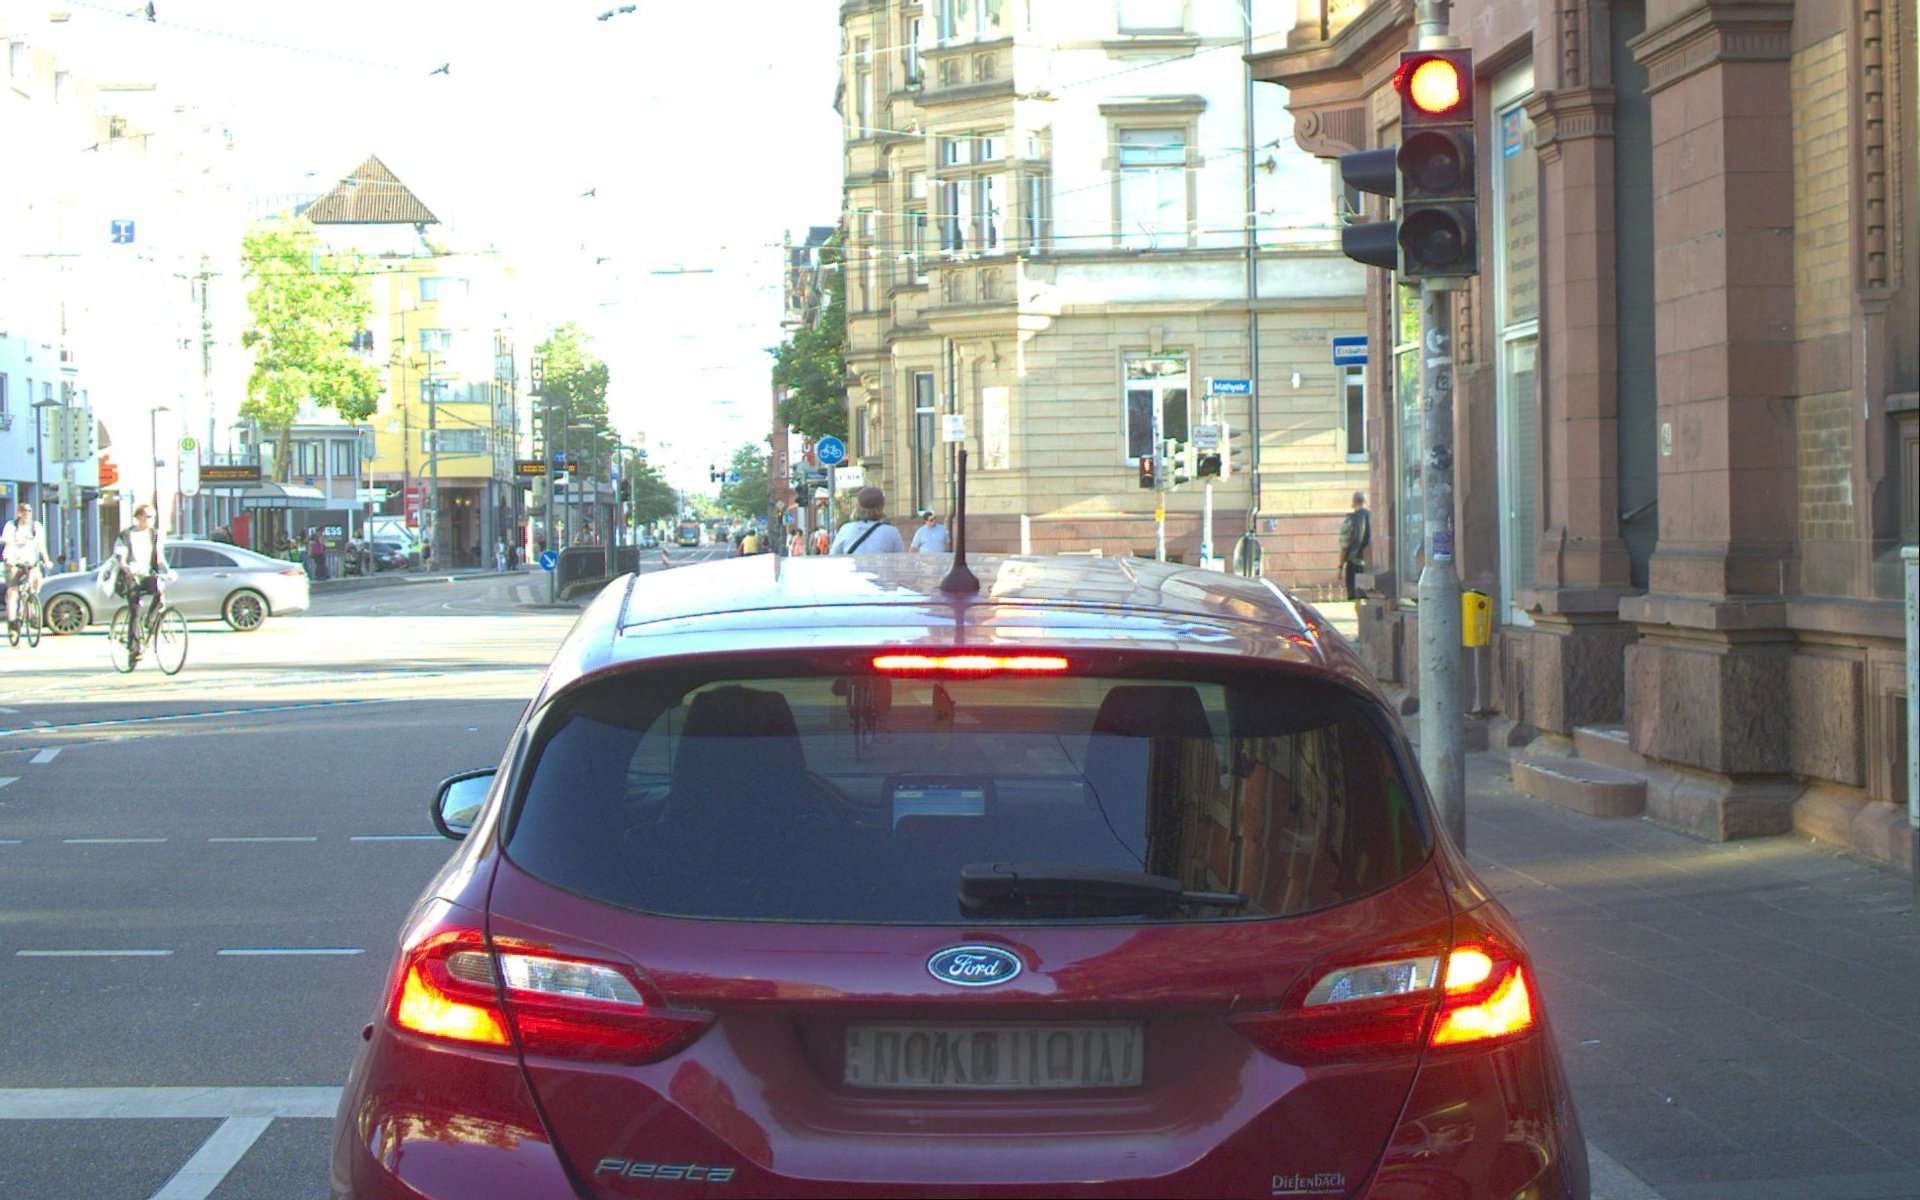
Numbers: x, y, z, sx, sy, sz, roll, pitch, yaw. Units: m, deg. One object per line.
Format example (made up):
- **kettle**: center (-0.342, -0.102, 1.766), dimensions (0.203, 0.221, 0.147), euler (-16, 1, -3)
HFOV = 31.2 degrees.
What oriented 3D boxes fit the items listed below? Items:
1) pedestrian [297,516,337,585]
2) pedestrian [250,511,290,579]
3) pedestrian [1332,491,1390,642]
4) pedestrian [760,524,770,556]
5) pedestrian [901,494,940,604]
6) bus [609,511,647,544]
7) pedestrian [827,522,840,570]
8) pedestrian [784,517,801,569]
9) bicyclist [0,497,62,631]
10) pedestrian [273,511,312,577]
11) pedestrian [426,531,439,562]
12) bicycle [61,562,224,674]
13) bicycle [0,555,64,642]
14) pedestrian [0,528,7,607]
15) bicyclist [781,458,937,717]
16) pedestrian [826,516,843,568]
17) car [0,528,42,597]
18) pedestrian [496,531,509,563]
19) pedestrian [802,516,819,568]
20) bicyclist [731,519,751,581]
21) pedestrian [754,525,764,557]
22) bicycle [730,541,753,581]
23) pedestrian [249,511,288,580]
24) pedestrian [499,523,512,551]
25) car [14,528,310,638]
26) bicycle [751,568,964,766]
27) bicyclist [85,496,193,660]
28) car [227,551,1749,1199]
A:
- **pedestrian**: center (-19.178, -1.481, 102.535), dimensions (1.045, 2.007, 0.959), euler (-1, 1, -5)
- **pedestrian**: center (-20.636, -1.657, 102.839), dimensions (1.045, 2.007, 0.959), euler (-1, 1, -5)
- **pedestrian**: center (4.731, -0.398, 40.563), dimensions (0.560, 1.749, 0.650), euler (-1, 1, -1)
- **pedestrian**: center (-11.367, -3.489, 200.371), dimensions (0.577, 1.880, 0.631), euler (-1, 1, -3)
- **pedestrian**: center (-0.730, -0.945, 63.594), dimensions (0.651, 2.007, 0.760), euler (-1, 1, -4)
- **bus**: center (-20.924, -4.559, 217.028), dimensions (1.925, 2.007, 7.138), euler (-1, 1, -2)
- **pedestrian**: center (-4.445, -1.892, 121.033), dimensions (0.413, 1.674, 0.485), euler (-1, 1, -1)
- **pedestrian**: center (-6.598, -2.241, 135.333), dimensions (0.577, 2.007, 0.631), euler (-1, 1, 3)
- **bicyclist**: center (-12.811, -0.500, 47.256), dimensions (0.807, 1.815, 0.994), euler (-1, 1, -18)
- **pedestrian**: center (-20.369, -1.714, 104.933), dimensions (1.045, 2.007, 0.959), euler (-1, 1, -5)
- **pedestrian**: center (-25.303, -2.565, 164.914), dimensions (0.580, 1.483, 0.526), euler (-1, 1, -5)
- **bicycle**: center (-8.716, 0.176, 36.604), dimensions (0.808, 1.143, 2.049), euler (-2, 2, -41)
- **bicycle**: center (-12.867, -0.035, 47.464), dimensions (0.807, 1.143, 2.011), euler (-1, 1, -18)
- **pedestrian**: center (-20.669, -0.692, 73.416), dimensions (0.524, 1.676, 0.486), euler (-1, 1, -10)
- **bicyclist**: center (-0.642, -0.092, 22.012), dimensions (0.764, 1.621, 0.731), euler (1, 1, 21)
- **pedestrian**: center (-4.913, -2.265, 134.679), dimensions (0.577, 2.007, 0.631), euler (-1, 1, 3)
- **car**: center (-24.560, -0.962, 87.316), dimensions (1.701, 1.712, 3.565), euler (-1, 1, -4)
- **pedestrian**: center (-21.569, -2.508, 162.099), dimensions (0.524, 1.483, 0.583), euler (-1, 1, -1)
- **pedestrian**: center (-5.884, -2.279, 135.200), dimensions (0.577, 2.007, 0.631), euler (-1, 1, 3)
- **bicyclist**: center (-5.939, -1.354, 93.351), dimensions (0.499, 1.670, 0.545), euler (-1, 1, -1)
- **pedestrian**: center (-11.912, -3.485, 203.766), dimensions (0.577, 1.880, 0.669), euler (-1, 1, -3)
- **bicycle**: center (-5.940, -1.063, 93.492), dimensions (0.526, 1.085, 1.486), euler (-1, 1, -1)
- **pedestrian**: center (-20.212, -1.602, 100.528), dimensions (0.956, 2.007, 1.049), euler (-1, 1, -3)
- **pedestrian**: center (-26.003, -3.587, 196.709), dimensions (0.628, 1.599, 0.579), euler (-1, 1, -20)
- **car**: center (-12.569, -0.285, 54.302), dimensions (4.443, 1.635, 1.704), euler (-1, 1, -12)
- **bicycle**: center (-0.630, 0.400, 21.977), dimensions (0.627, 1.173, 2.023), euler (1, 1, 21)
- **bicyclist**: center (-8.744, -0.238, 36.622), dimensions (0.808, 1.720, 0.794), euler (-2, 1, -41)
- **car**: center (-0.130, 0.666, 5.932), dimensions (1.754, 1.461, 3.946), euler (1, 1, -5)
